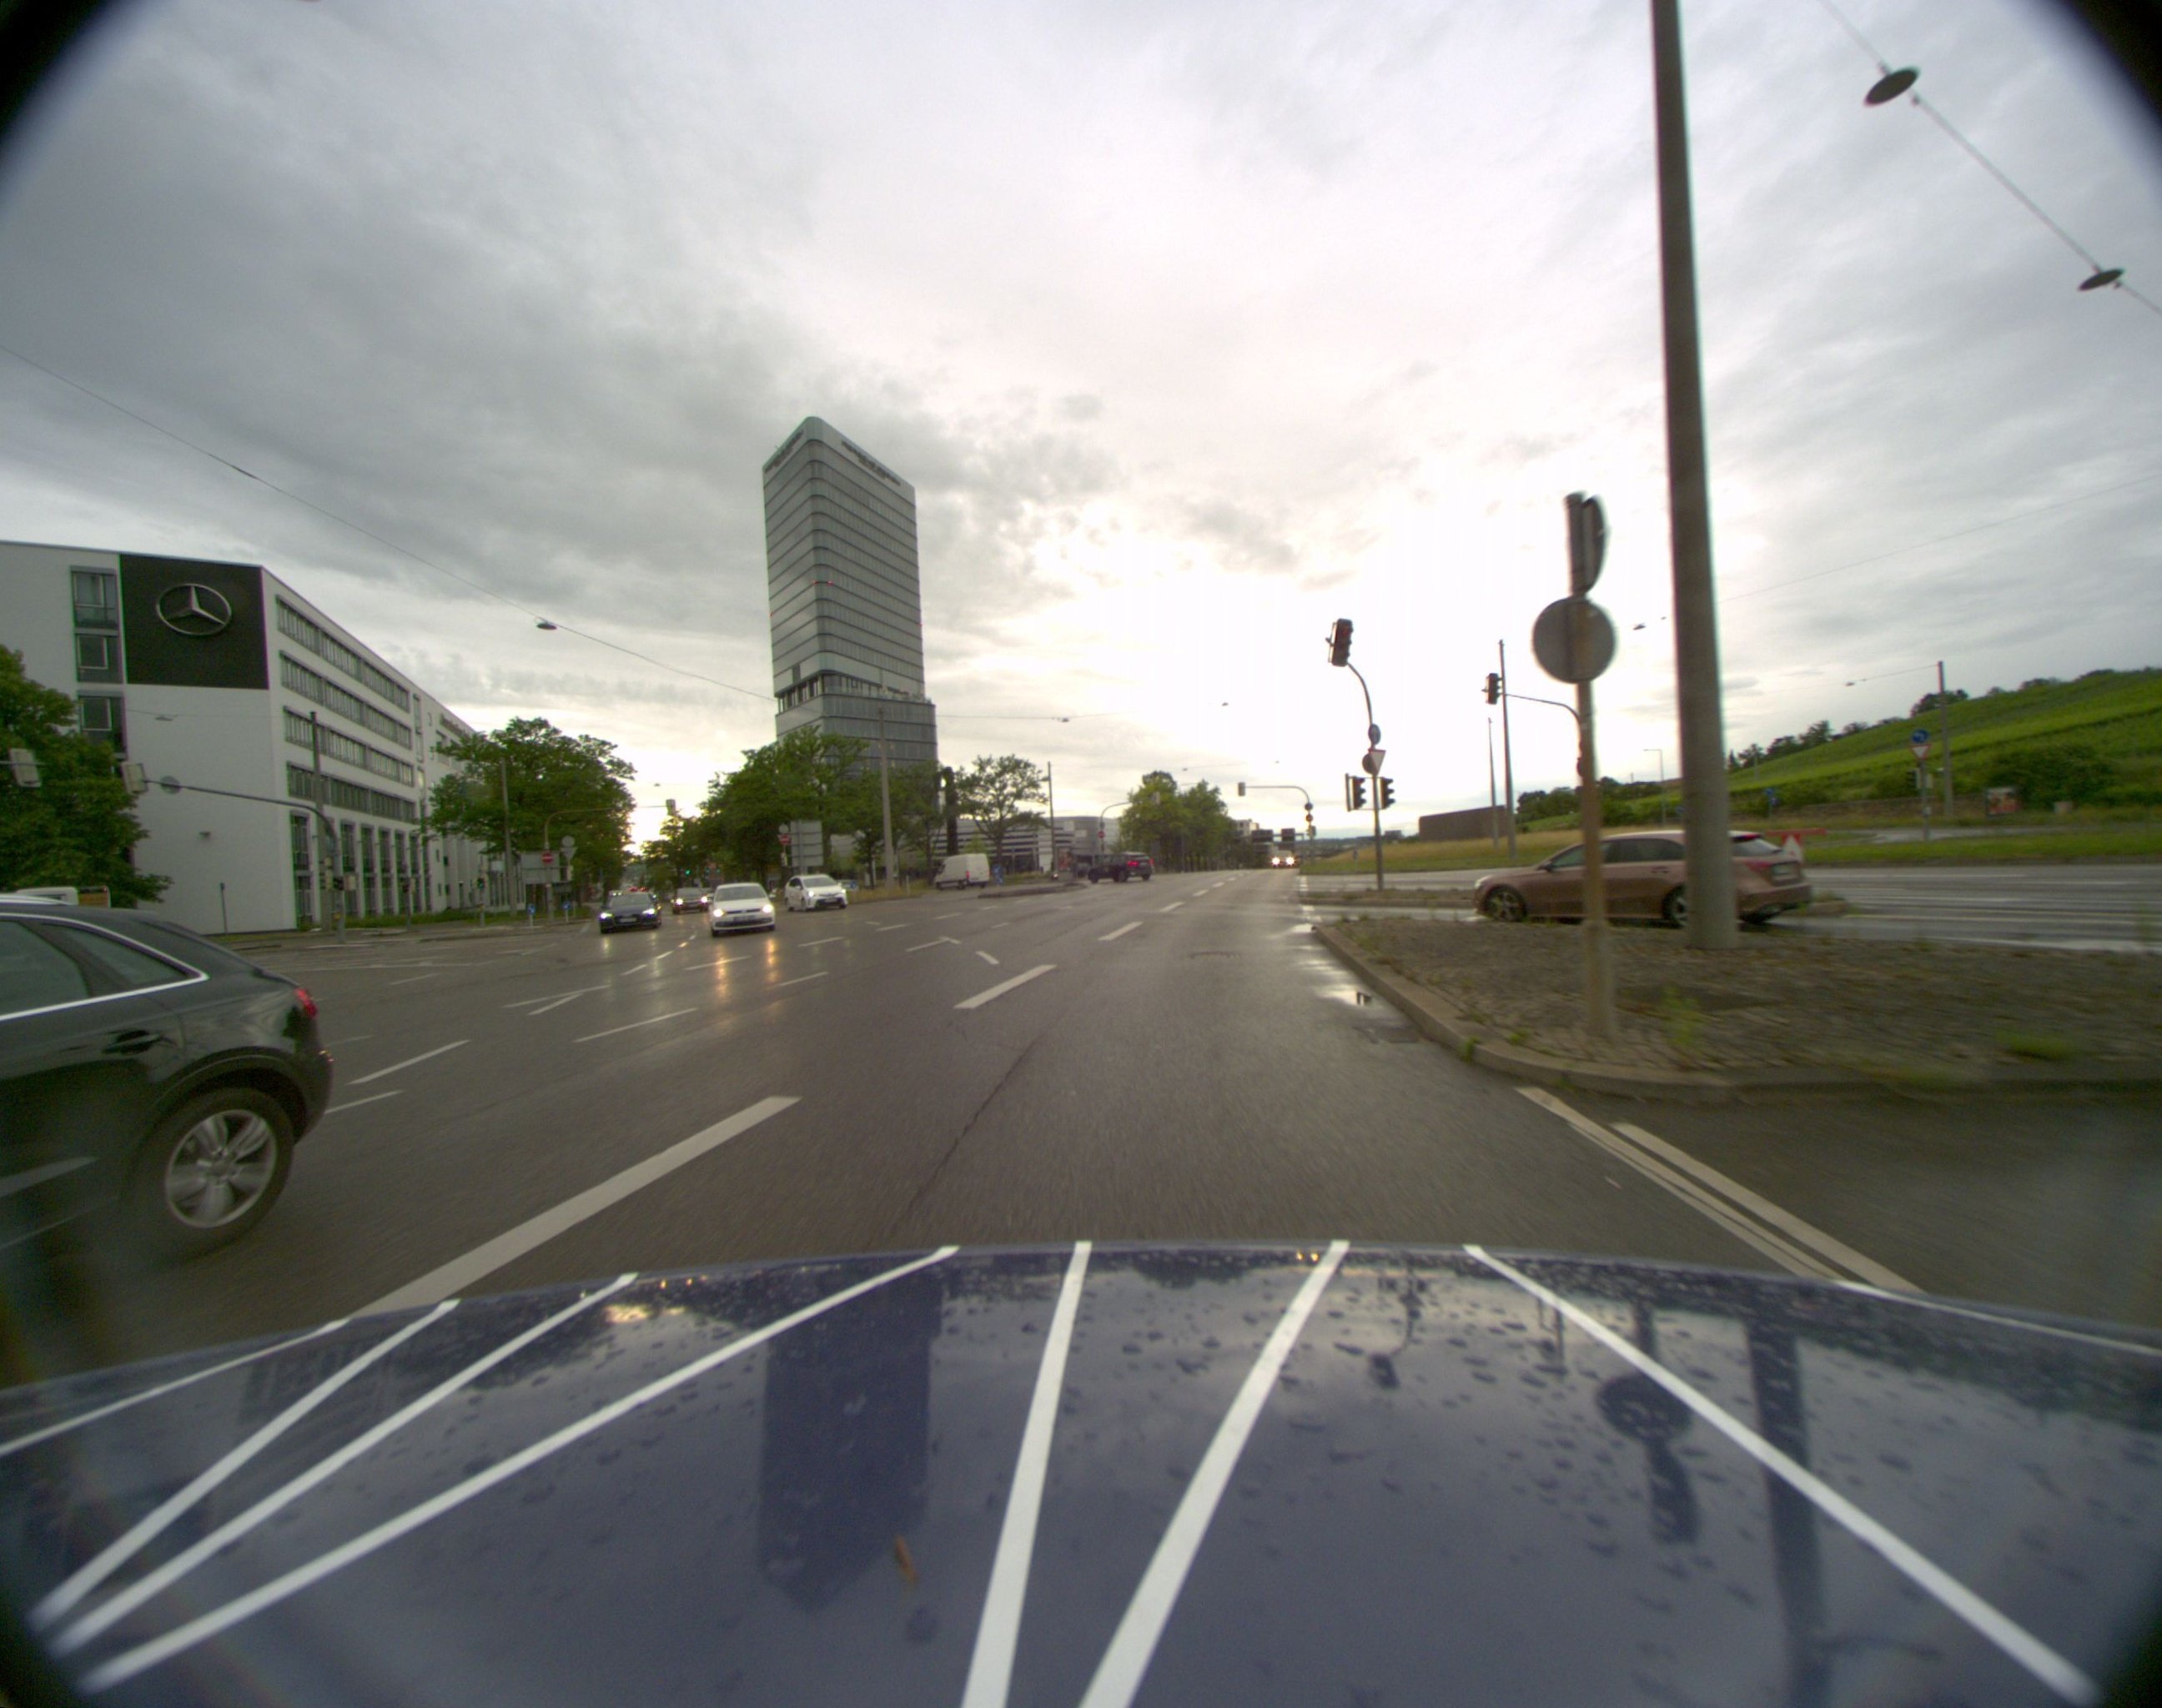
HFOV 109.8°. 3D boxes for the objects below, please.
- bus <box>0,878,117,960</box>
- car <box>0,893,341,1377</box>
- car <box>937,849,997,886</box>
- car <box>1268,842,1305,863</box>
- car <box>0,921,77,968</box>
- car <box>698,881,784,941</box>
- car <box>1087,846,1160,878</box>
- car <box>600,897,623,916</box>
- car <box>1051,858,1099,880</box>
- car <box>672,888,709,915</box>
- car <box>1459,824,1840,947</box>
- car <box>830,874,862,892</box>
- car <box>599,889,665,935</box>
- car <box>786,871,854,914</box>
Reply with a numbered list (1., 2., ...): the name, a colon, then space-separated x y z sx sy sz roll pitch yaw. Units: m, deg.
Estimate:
1. bus: -48.080 2.958 30.363 11.860 3.182 1.996 -4 1 -28
2. car: -4.358 0.993 1.616 1.730 1.525 4.124 -3 0 -6
3. car: -8.861 1.086 58.571 1.935 2.569 5.446 -4 1 -39
4. car: 16.895 -0.138 62.431 1.792 1.579 3.912 -3 1 32
5. car: -37.903 3.232 26.022 4.119 1.407 1.729 -4 1 -10
6. car: -10.178 1.601 22.560 1.733 1.464 4.254 -5 1 -31
7. car: 2.340 0.500 42.880 1.742 1.587 4.331 -4 1 -35
8. car: -43.903 4.855 71.066 1.614 1.505 3.624 -4 1 -29
9. car: -0.479 1.327 67.200 4.007 1.704 1.799 -4 1 -44
10. car: -22.934 2.745 44.583 1.573 1.407 3.871 -4 0 -32
11. car: 8.403 0.431 11.742 1.741 1.453 4.333 -4 0 -26
12. car: -21.694 2.679 70.081 1.685 1.476 3.782 -4 1 -36
13. car: -16.877 2.123 28.718 1.762 1.390 3.992 -4 1 -26
14. car: -11.687 1.650 33.847 1.831 1.575 4.286 -6 3 -32
